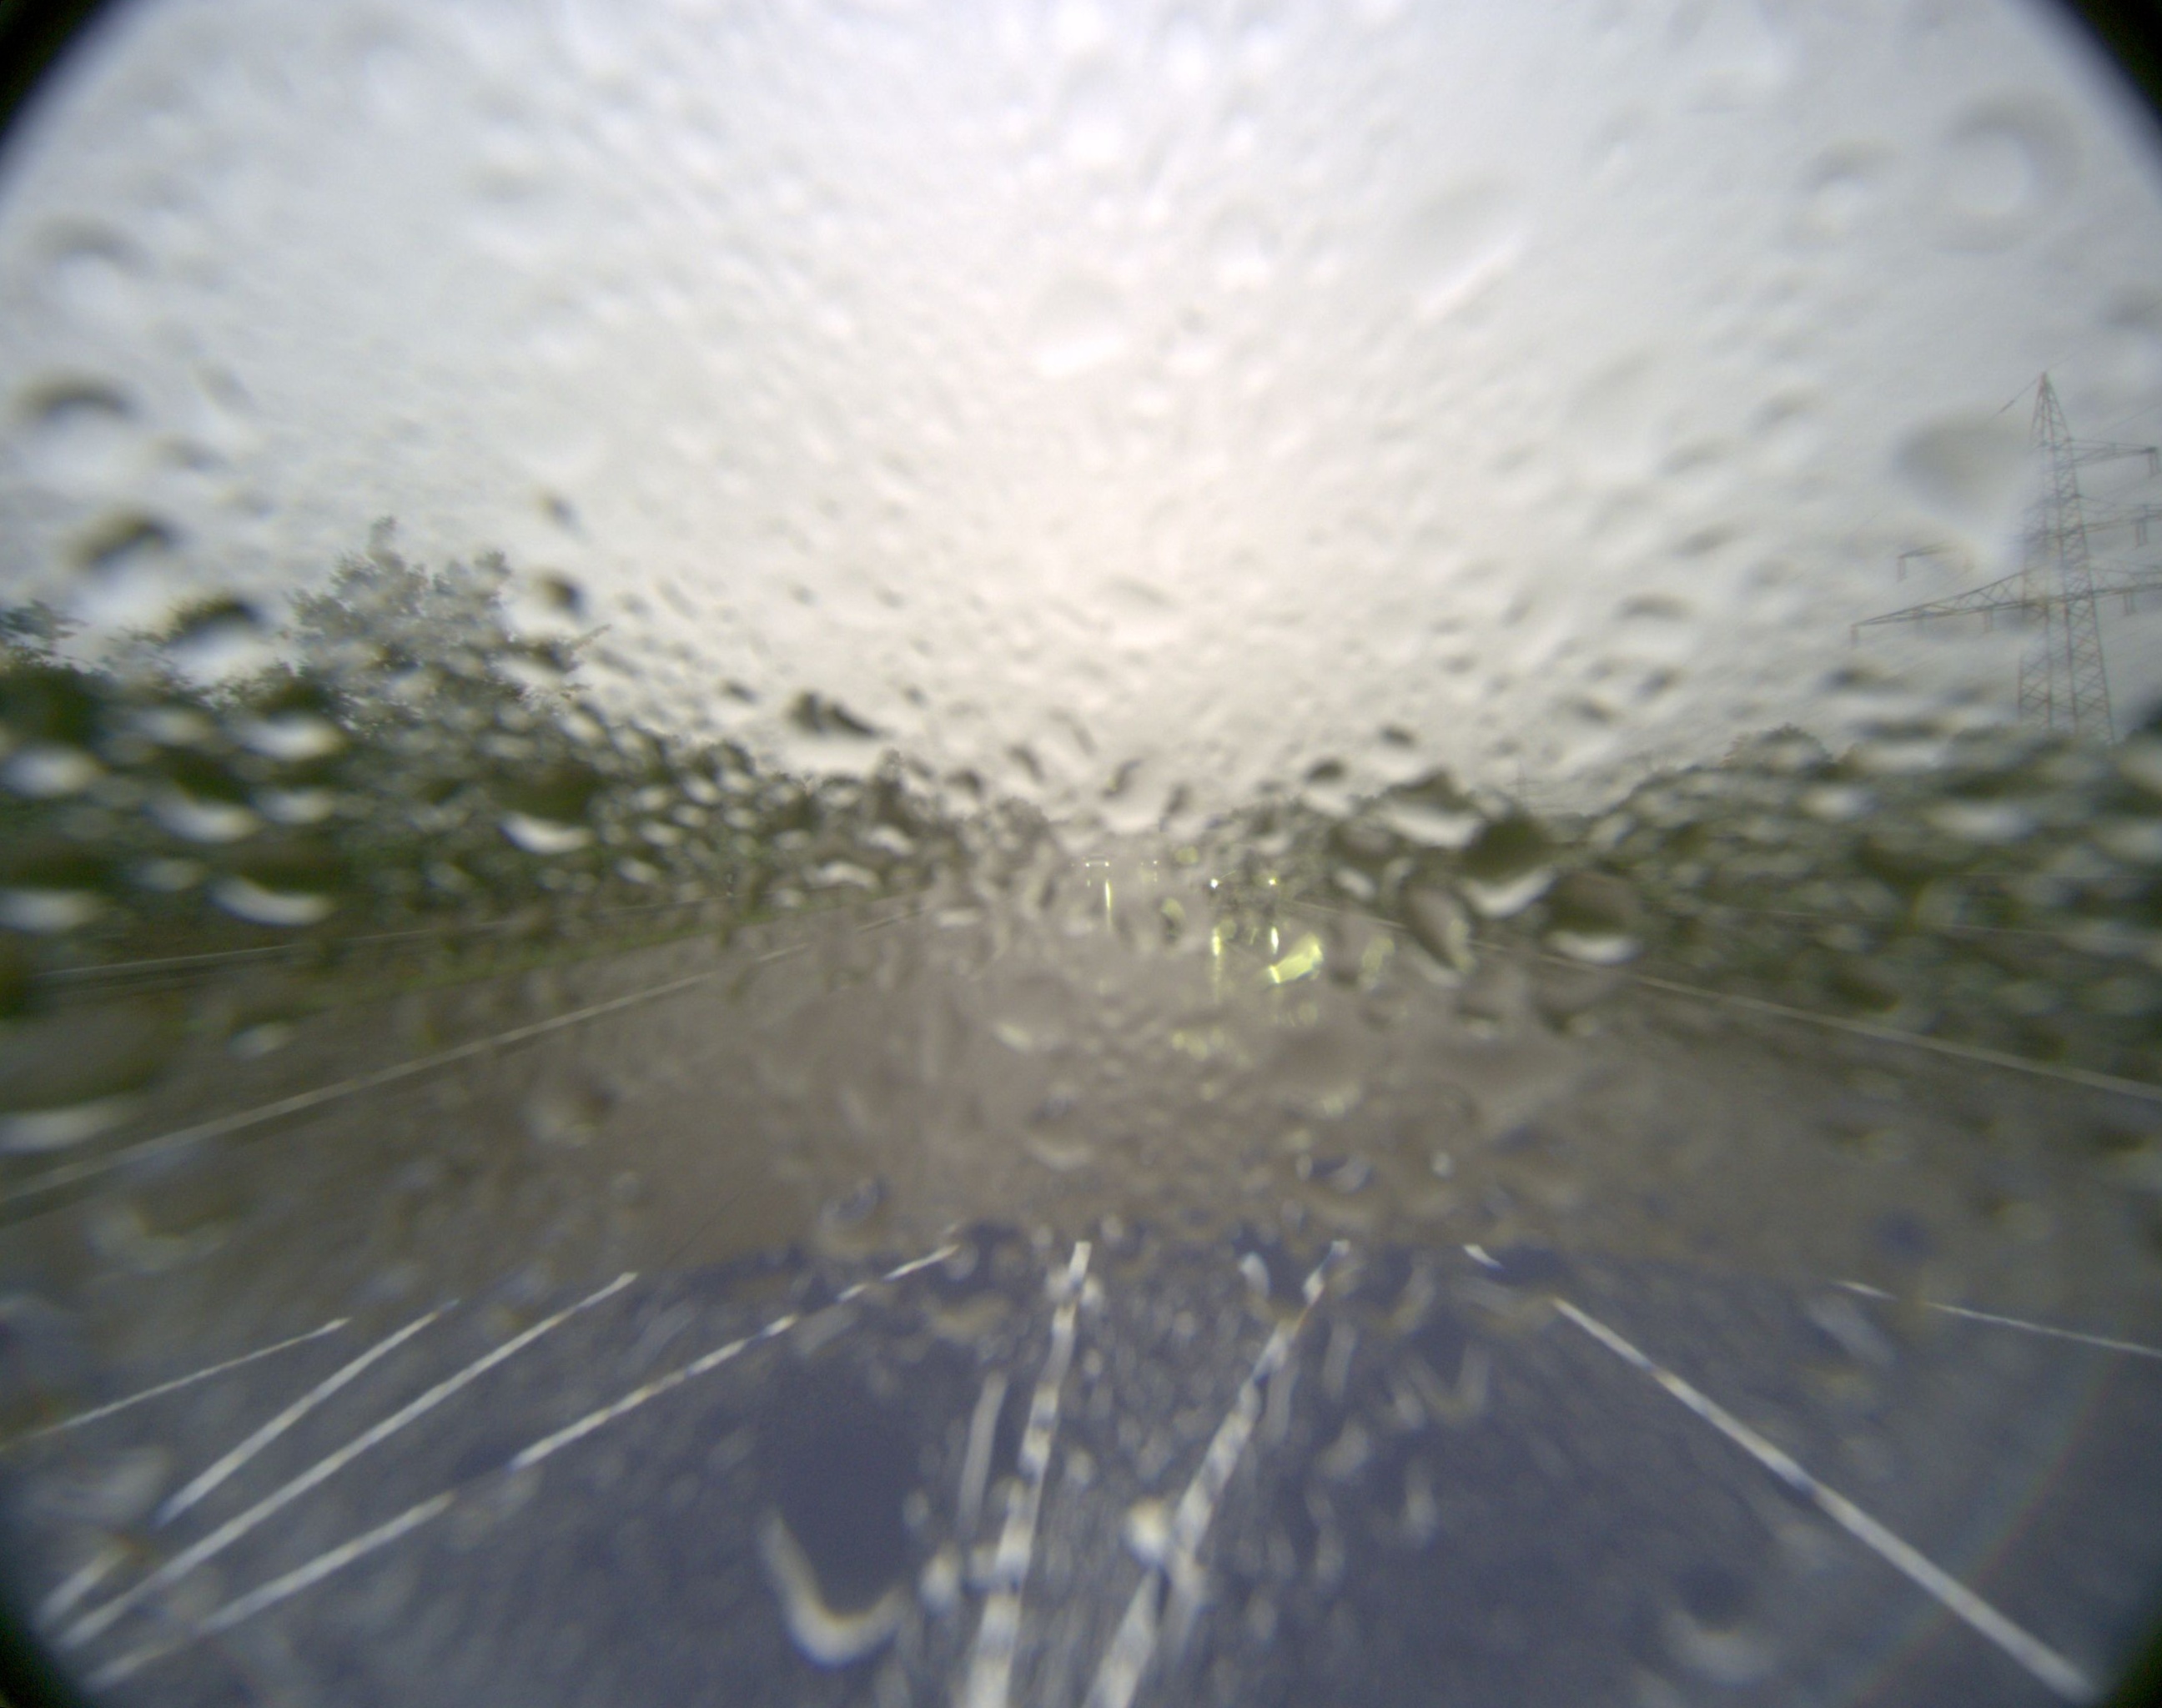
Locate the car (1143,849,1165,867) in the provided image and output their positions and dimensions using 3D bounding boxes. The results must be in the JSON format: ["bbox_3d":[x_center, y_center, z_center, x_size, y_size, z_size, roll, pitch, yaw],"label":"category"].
[{"bbox_3d":[6.538,0.351,67.641,1.752,1.369,4.002,-4,1,7],"label":"car"}]

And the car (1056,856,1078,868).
[{"bbox_3d":[-1.541,0.879,85.885,1.752,1.205,4.002,-5,0,7],"label":"car"}]

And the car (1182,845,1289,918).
[{"bbox_3d":[4.139,0.668,21.132,2.047,1.763,4.500,-2,0,0],"label":"car"}]

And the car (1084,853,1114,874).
[{"bbox_3d":[1.350,0.690,55.220,1.752,1.406,4.002,-1,1,7],"label":"car"}]

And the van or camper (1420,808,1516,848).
[{"bbox_3d":[22.635,-1.424,44.829,2.283,1.960,6.760,-4,0,2],"label":"van or camper"}]
